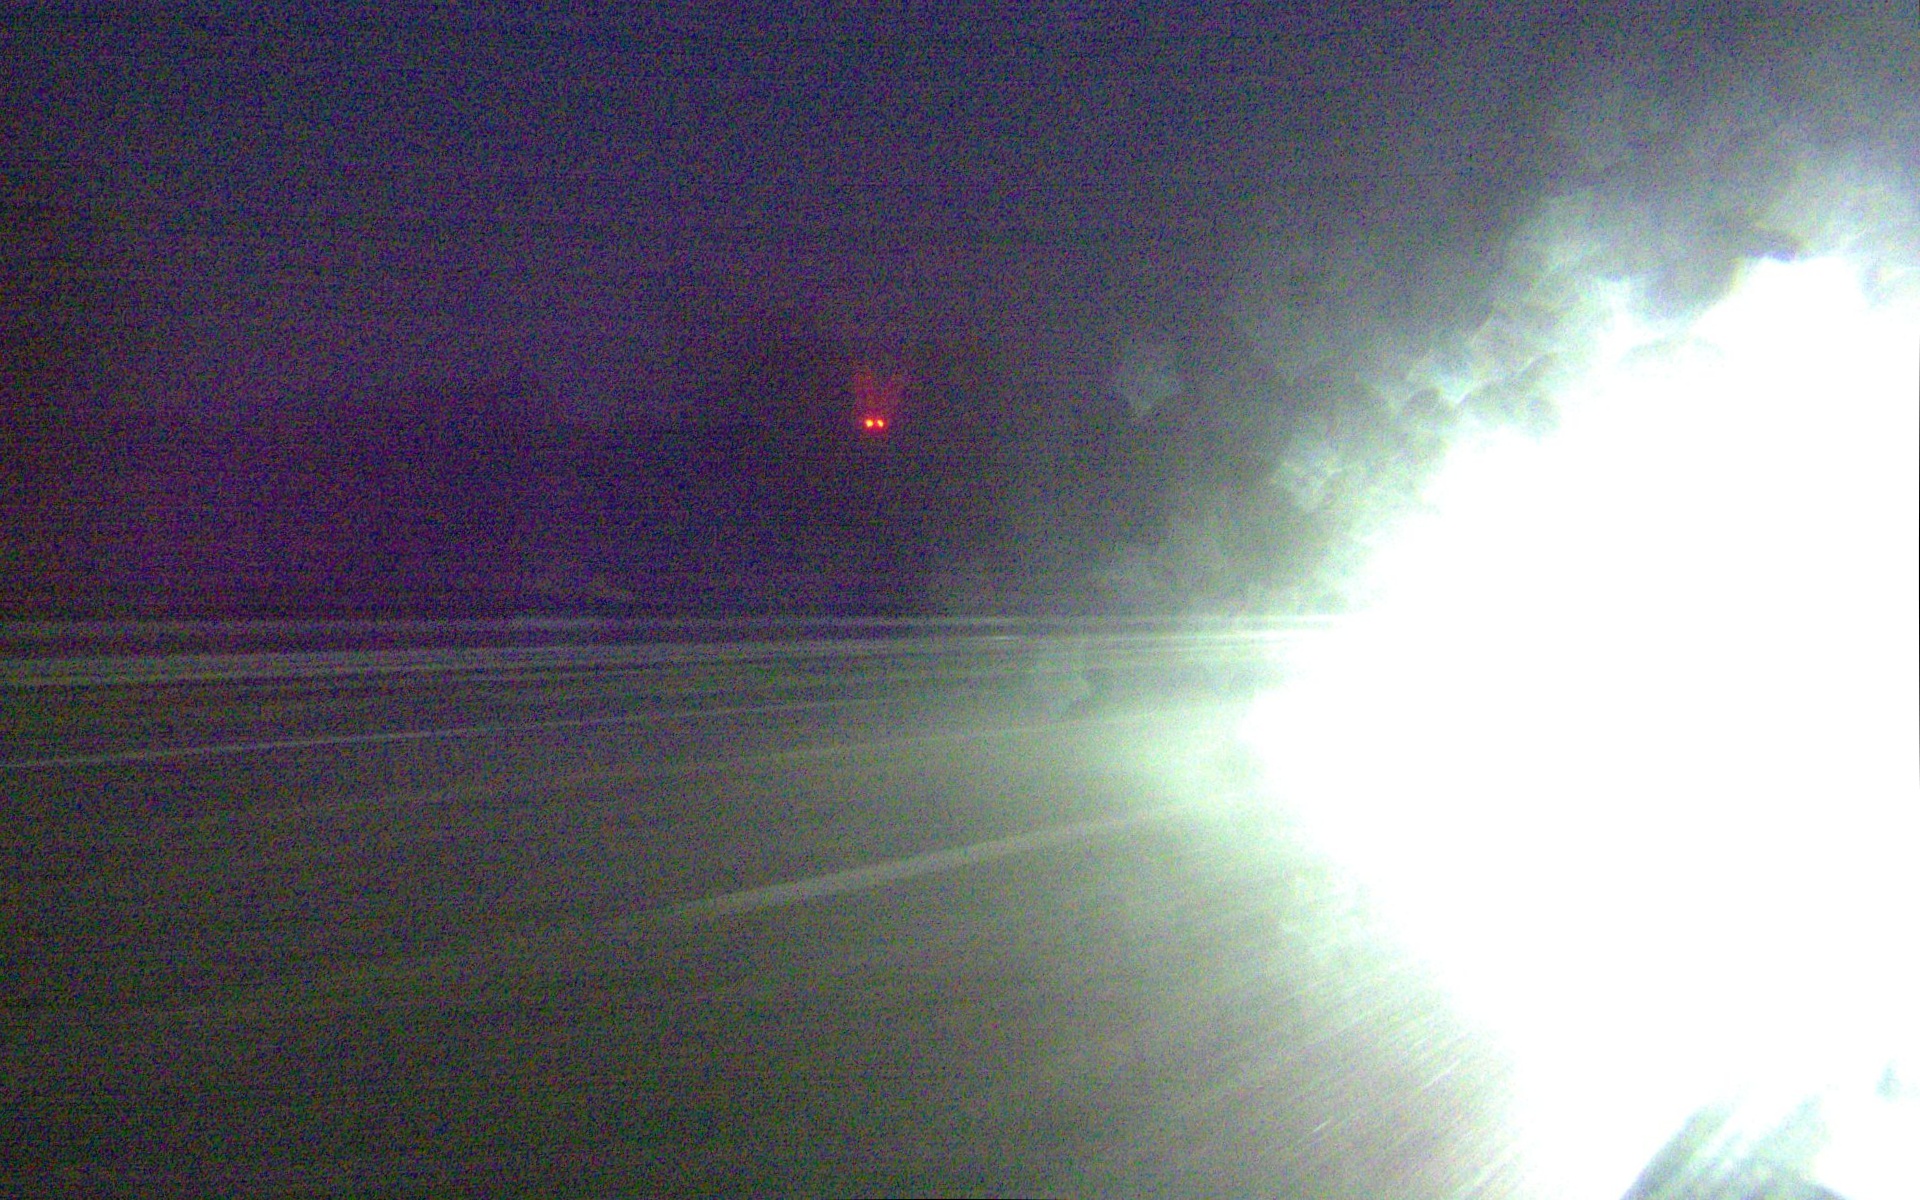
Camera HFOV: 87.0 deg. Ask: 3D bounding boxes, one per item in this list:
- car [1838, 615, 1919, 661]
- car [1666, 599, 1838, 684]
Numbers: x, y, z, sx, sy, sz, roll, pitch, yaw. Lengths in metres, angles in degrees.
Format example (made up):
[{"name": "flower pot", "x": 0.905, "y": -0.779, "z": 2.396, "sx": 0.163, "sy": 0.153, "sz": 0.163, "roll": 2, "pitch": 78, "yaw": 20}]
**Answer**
[{"name": "car", "x": 36.033, "y": 1.438, "z": 39.603, "sx": 4.261, "sy": 1.467, "sz": 1.997, "roll": -2, "pitch": 3, "yaw": -41}, {"name": "car", "x": 16.483, "y": 0.755, "z": 20.958, "sx": 4.930, "sy": 1.538, "sz": 2.060, "roll": 0, "pitch": 0, "yaw": -43}]
